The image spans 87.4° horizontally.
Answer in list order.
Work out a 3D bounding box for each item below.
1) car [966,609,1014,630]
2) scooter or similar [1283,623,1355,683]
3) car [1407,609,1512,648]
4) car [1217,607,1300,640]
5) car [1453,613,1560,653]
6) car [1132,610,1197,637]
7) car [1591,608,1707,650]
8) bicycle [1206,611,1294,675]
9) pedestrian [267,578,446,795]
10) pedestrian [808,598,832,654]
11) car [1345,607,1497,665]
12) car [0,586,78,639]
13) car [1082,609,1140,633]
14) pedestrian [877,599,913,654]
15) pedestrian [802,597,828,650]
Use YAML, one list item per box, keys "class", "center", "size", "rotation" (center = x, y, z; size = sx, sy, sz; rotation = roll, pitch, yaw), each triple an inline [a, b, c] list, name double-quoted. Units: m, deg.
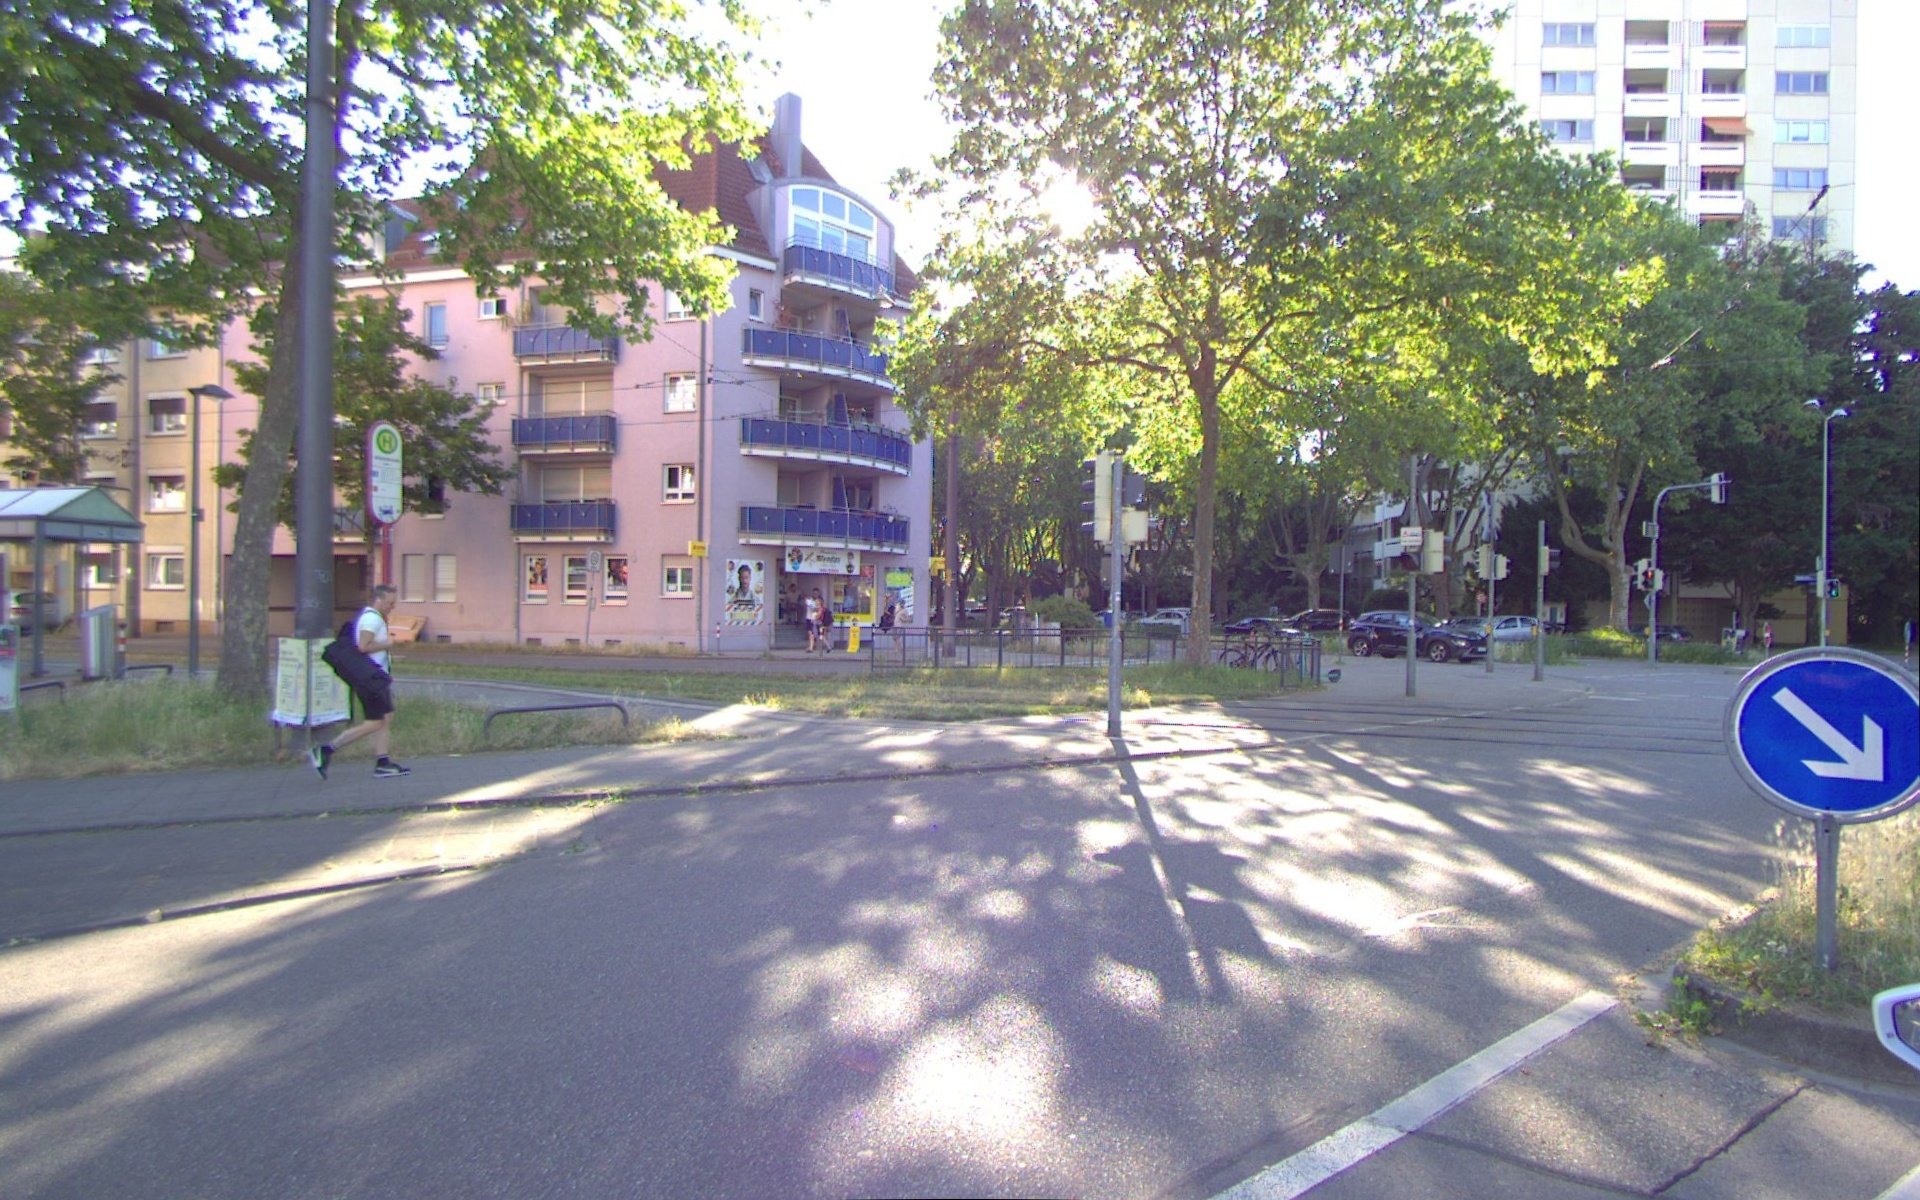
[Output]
- class: "car"
  center: [2.604, 1.675, 86.366]
  size: [3.919, 1.617, 1.739]
  rotation: [2, 0, 9]
- class: "scooter or similar"
  center: [7.921, 1.161, 22.204]
  size: [1.412, 1.255, 0.414]
  rotation: [2, 0, 9]
- class: "car"
  center: [22.839, 1.301, 46.034]
  size: [3.921, 1.617, 1.738]
  rotation: [2, 0, 0]
- class: "car"
  center: [15.910, 1.244, 53.682]
  size: [3.921, 1.617, 1.738]
  rotation: [2, 0, 0]
- class: "car"
  center: [23.879, 1.422, 43.983]
  size: [3.732, 1.617, 1.738]
  rotation: [2, 0, 0]
- class: "car"
  center: [13.399, 1.556, 65.983]
  size: [3.921, 1.617, 1.738]
  rotation: [2, 0, 0]
- class: "car"
  center: [31.621, 1.307, 46.203]
  size: [1.971, 1.798, 3.979]
  rotation: [2, 0, -22]
- class: "bicycle"
  center: [6.398, 0.931, 22.245]
  size: [1.811, 1.324, 0.382]
  rotation: [2, 0, 34]
- class: "pedestrian"
  center: [-5.317, 0.710, 8.878]
  size: [0.889, 1.760, 1.084]
  rotation: [2, 0, 38]
- class: "pedestrian"
  center: [-4.248, 0.780, 30.426]
  size: [0.609, 1.689, 0.549]
  rotation: [2, 0, -14]
- class: "car"
  center: [14.338, 1.089, 31.416]
  size: [1.722, 1.617, 3.959]
  rotation: [2, 0, -36]
- class: "car"
  center: [-33.480, 0.392, 35.216]
  size: [4.029, 1.728, 1.940]
  rotation: [2, 0, 16]
- class: "car"
  center: [11.080, 1.529, 73.898]
  size: [3.921, 1.617, 1.738]
  rotation: [2, 0, 0]
- class: "pedestrian"
  center: [-2.064, 0.832, 31.764]
  size: [0.910, 1.689, 0.618]
  rotation: [2, 0, 34]
- class: "pedestrian"
  center: [-4.724, 0.773, 32.706]
  size: [0.610, 1.689, 0.549]
  rotation: [2, 0, 38]
